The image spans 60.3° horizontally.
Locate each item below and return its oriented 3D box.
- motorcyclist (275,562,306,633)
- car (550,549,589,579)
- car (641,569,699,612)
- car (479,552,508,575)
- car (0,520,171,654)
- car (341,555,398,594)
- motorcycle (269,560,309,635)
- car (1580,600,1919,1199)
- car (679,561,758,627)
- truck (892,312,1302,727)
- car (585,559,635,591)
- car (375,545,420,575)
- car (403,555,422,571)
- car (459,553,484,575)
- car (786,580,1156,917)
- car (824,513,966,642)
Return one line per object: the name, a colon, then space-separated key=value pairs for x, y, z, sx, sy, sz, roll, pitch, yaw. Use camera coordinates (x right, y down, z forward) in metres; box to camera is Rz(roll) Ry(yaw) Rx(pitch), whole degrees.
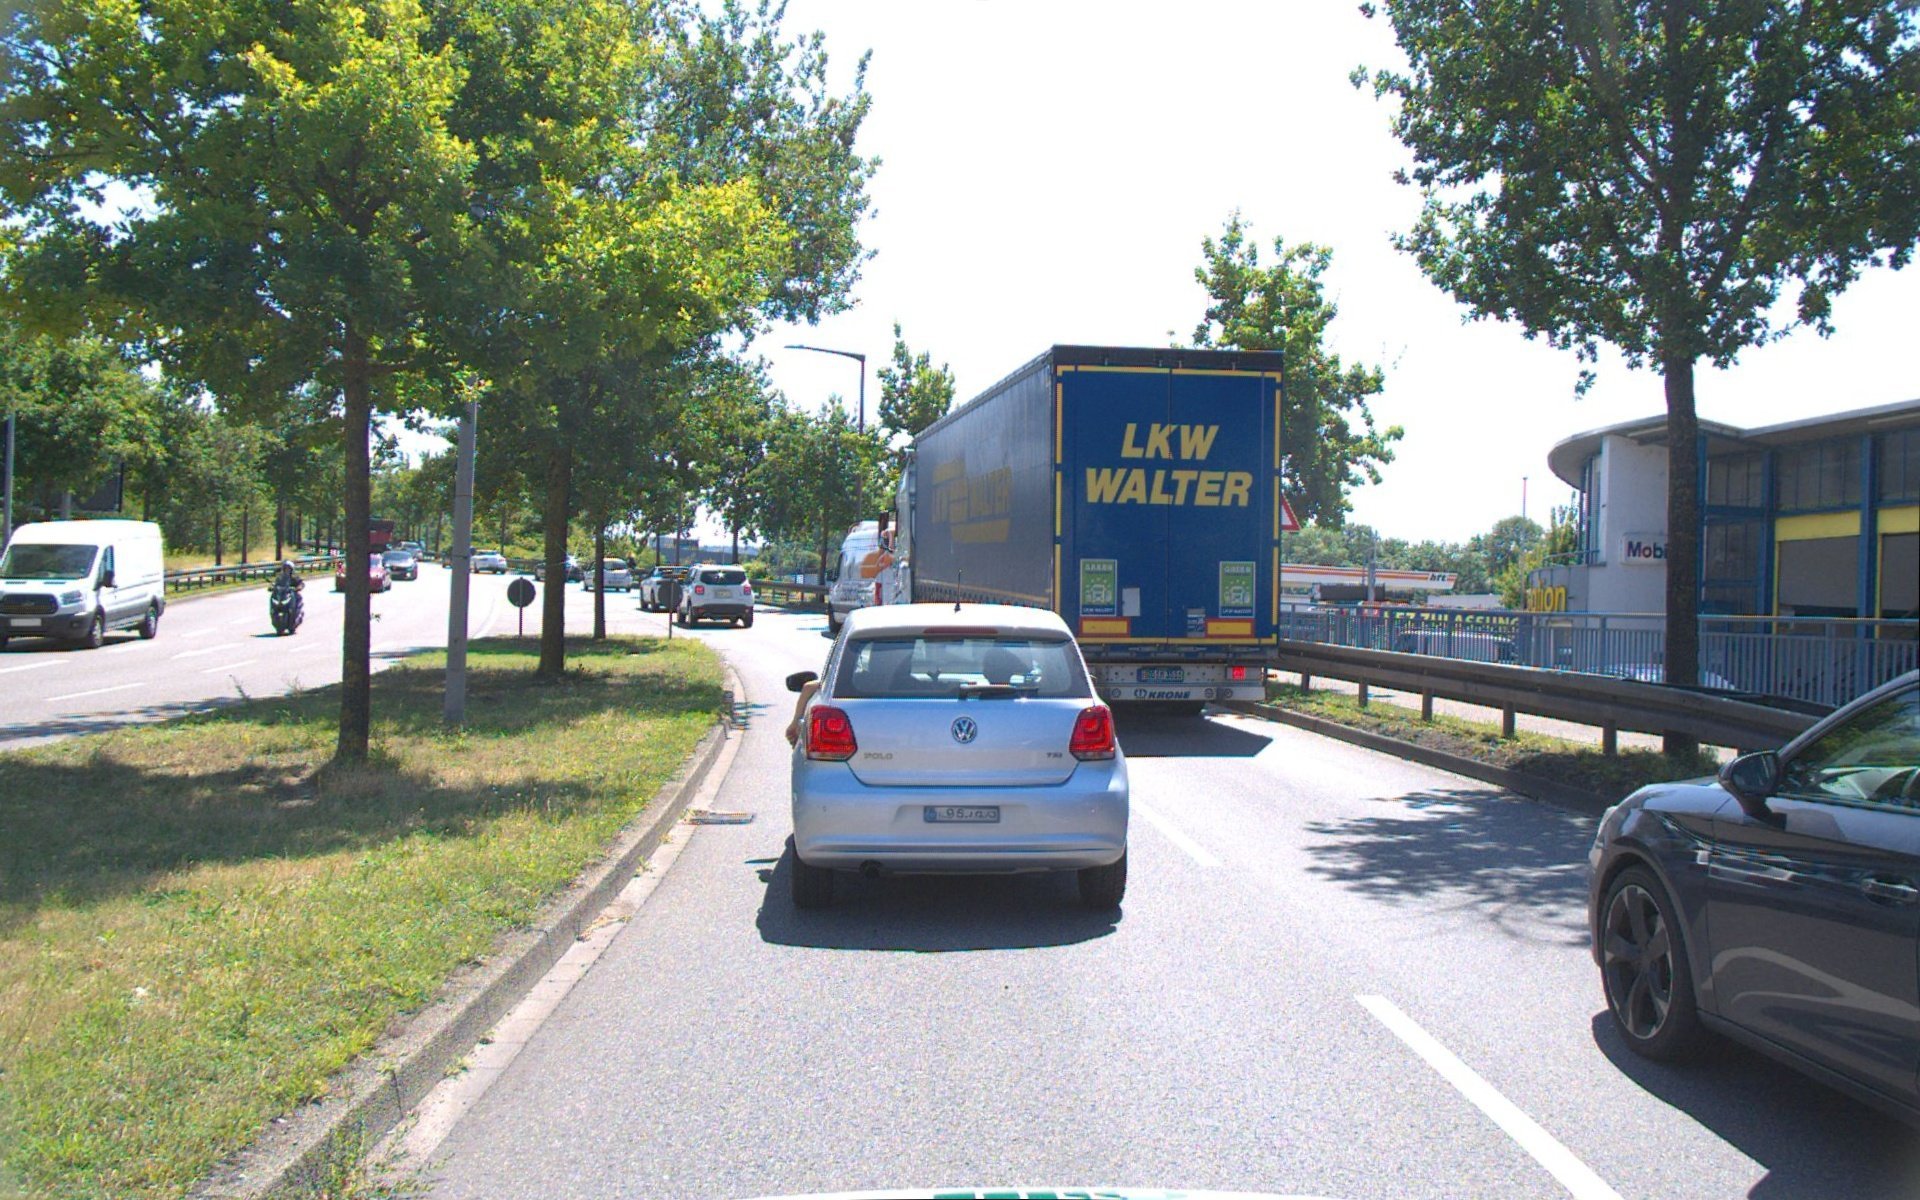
motorcyclist: x=-15.845 y=-0.055 z=39.128 sx=0.577 sy=1.655 sz=0.560 roll=1 pitch=-1 yaw=-15
car: x=-20.896 y=-1.900 z=88.395 sx=1.640 sy=1.490 sz=3.560 roll=1 pitch=0 yaw=-20
car: x=-9.854 y=-0.335 z=56.084 sx=1.471 sy=1.383 sz=3.645 roll=1 pitch=0 yaw=-17
car: x=-28.305 y=-2.204 z=100.370 sx=1.435 sy=1.337 sz=3.616 roll=1 pitch=0 yaw=-20
car: x=-18.295 y=-0.328 z=34.358 sx=2.057 sy=2.544 sz=5.794 roll=0 pitch=2 yaw=-11
car: x=-23.858 y=-1.019 z=66.918 sx=1.800 sy=1.462 sz=4.507 roll=-1 pitch=0 yaw=-15
motorcycle: x=-15.843 y=-0.066 z=39.086 sx=0.588 sy=1.707 sz=2.415 roll=1 pitch=0 yaw=-16
car: x=3.151 y=0.755 z=3.943 sx=1.572 sy=1.481 sz=4.232 roll=1 pitch=0 yaw=-3
car: x=-6.887 y=-0.146 z=46.858 sx=1.870 sy=1.748 sz=4.209 roll=1 pitch=0 yaw=-13
truck: x=1.128 y=-0.899 z=25.470 sx=2.780 sy=4.271 sz=16.446 roll=1 pitch=0 yaw=-8
car: x=-15.994 y=-1.152 z=75.427 sx=1.586 sy=1.383 sz=3.637 roll=1 pitch=1 yaw=-23
car: x=-27.920 y=-1.961 z=82.215 sx=1.779 sy=1.357 sz=4.551 roll=1 pitch=0 yaw=-15
car: x=-43.153 y=-2.887 z=130.267 sx=1.302 sy=1.158 sz=2.977 roll=1 pitch=0 yaw=-21
car: x=-32.941 y=-2.407 z=111.468 sx=1.397 sy=1.337 sz=3.318 roll=1 pitch=0 yaw=-20
car: x=-0.011 y=0.668 z=9.078 sx=1.613 sy=1.464 sz=3.535 roll=1 pitch=0 yaw=-2
car: x=-1.762 y=-0.610 z=41.630 sx=2.140 sy=2.951 sz=6.333 roll=1 pitch=1 yaw=-15
